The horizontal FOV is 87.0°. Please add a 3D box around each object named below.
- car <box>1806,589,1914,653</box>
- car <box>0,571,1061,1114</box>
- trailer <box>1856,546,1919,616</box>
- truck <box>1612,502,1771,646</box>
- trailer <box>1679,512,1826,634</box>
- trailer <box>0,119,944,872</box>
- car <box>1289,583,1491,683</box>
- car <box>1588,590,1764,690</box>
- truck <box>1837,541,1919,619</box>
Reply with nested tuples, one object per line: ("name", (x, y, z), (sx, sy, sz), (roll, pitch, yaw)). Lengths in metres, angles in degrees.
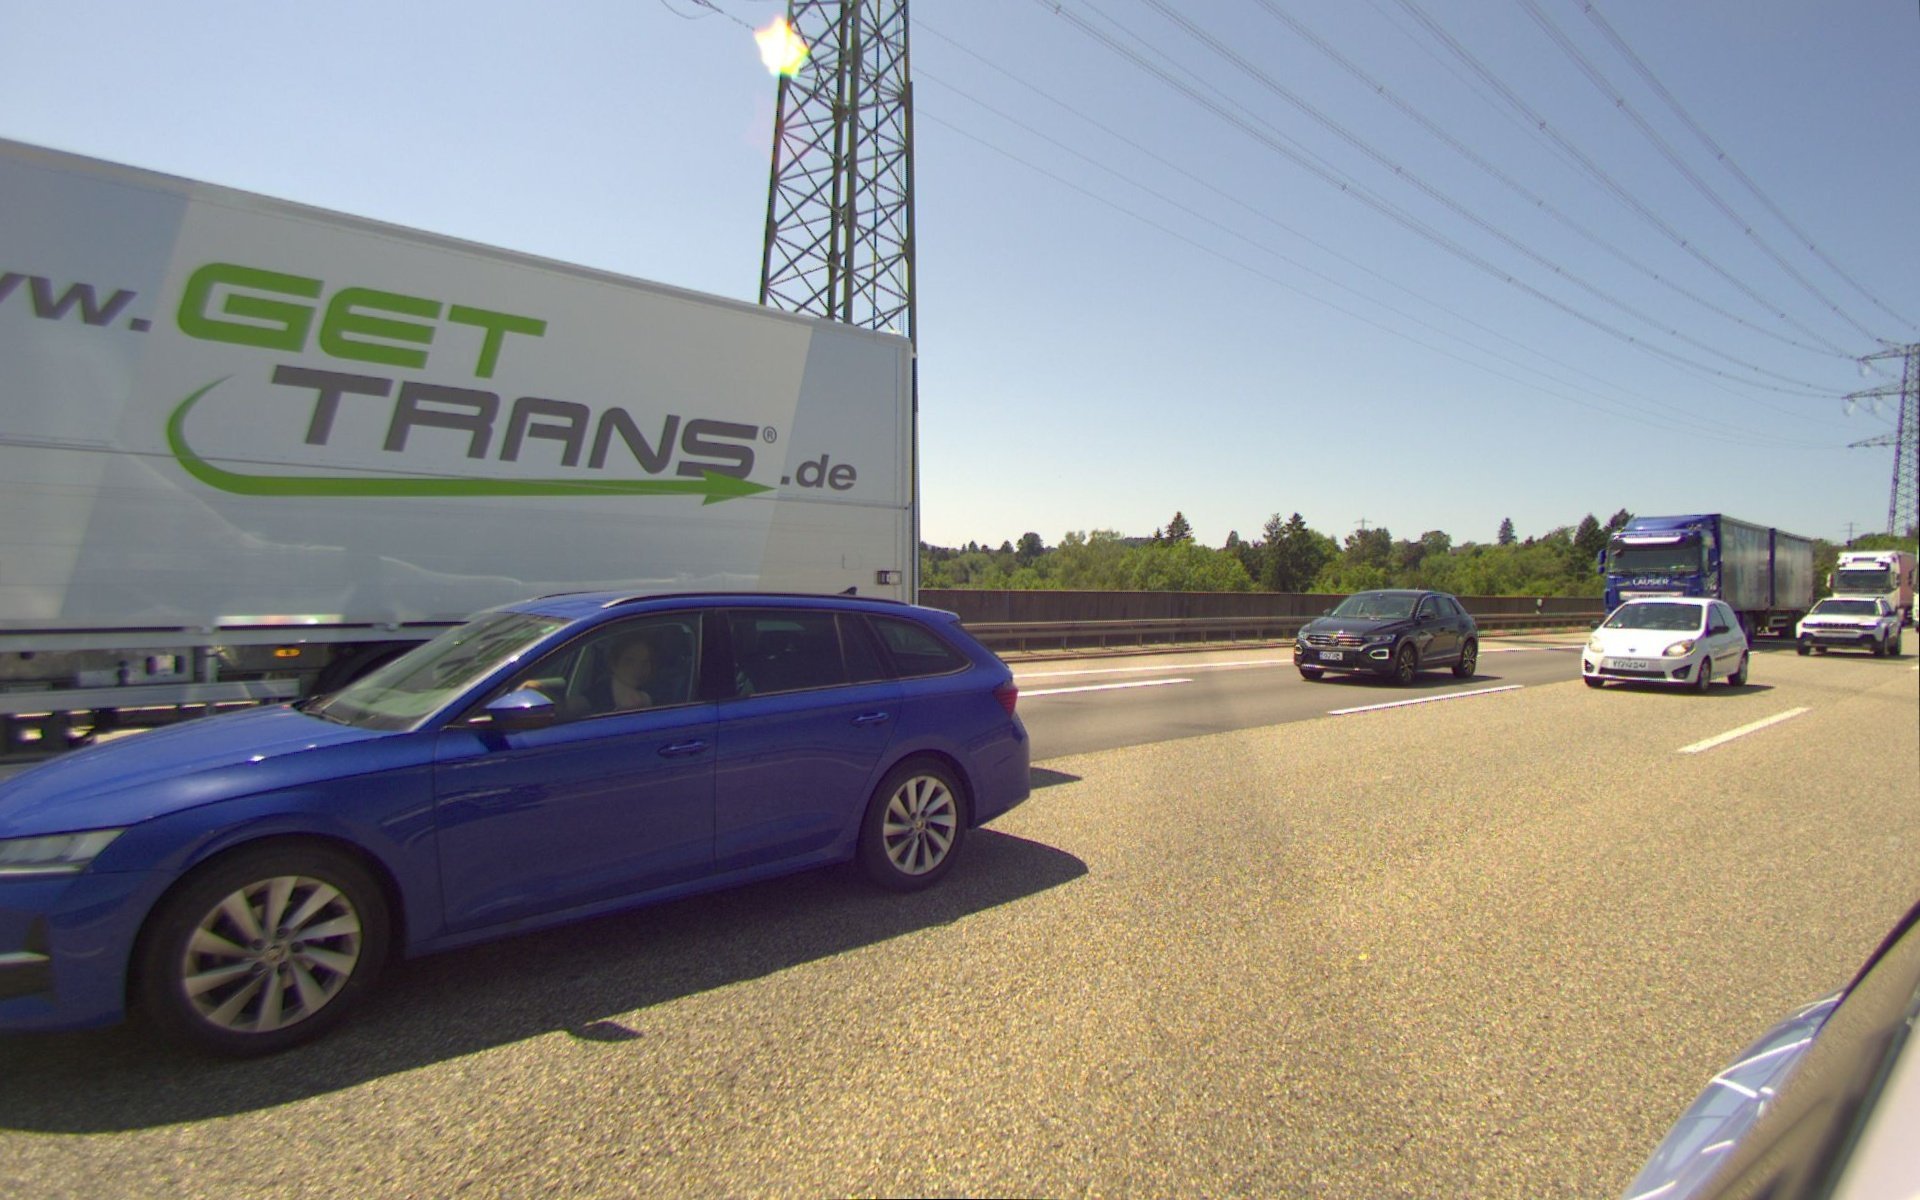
("car", (23.547, 0.501, 26.450), (3.688, 1.554, 1.720), (0, 1, -42))
("car", (-1.662, 0.635, 4.682), (4.422, 1.458, 1.712), (0, 1, -42))
("trailer", (55.554, -1.117, 59.823), (8.539, 3.849, 2.901), (-1, 0, -42))
("truck", (23.041, -0.792, 31.690), (7.792, 4.017, 2.514), (-1, 1, -42))
("trailer", (29.884, -0.964, 37.922), (10.699, 4.044, 2.540), (-1, 0, -42))
("trailer", (-4.103, -0.516, 7.299), (8.149, 3.640, 2.848), (0, 0, -42))
("car", (7.411, 0.482, 17.306), (3.821, 1.524, 1.708), (0, 1, -41))
("car", (11.803, 0.569, 16.608), (3.566, 1.458, 1.582), (0, 1, -41))
("truck", (49.889, -1.048, 54.749), (6.625, 3.941, 2.911), (-1, 0, -42))
